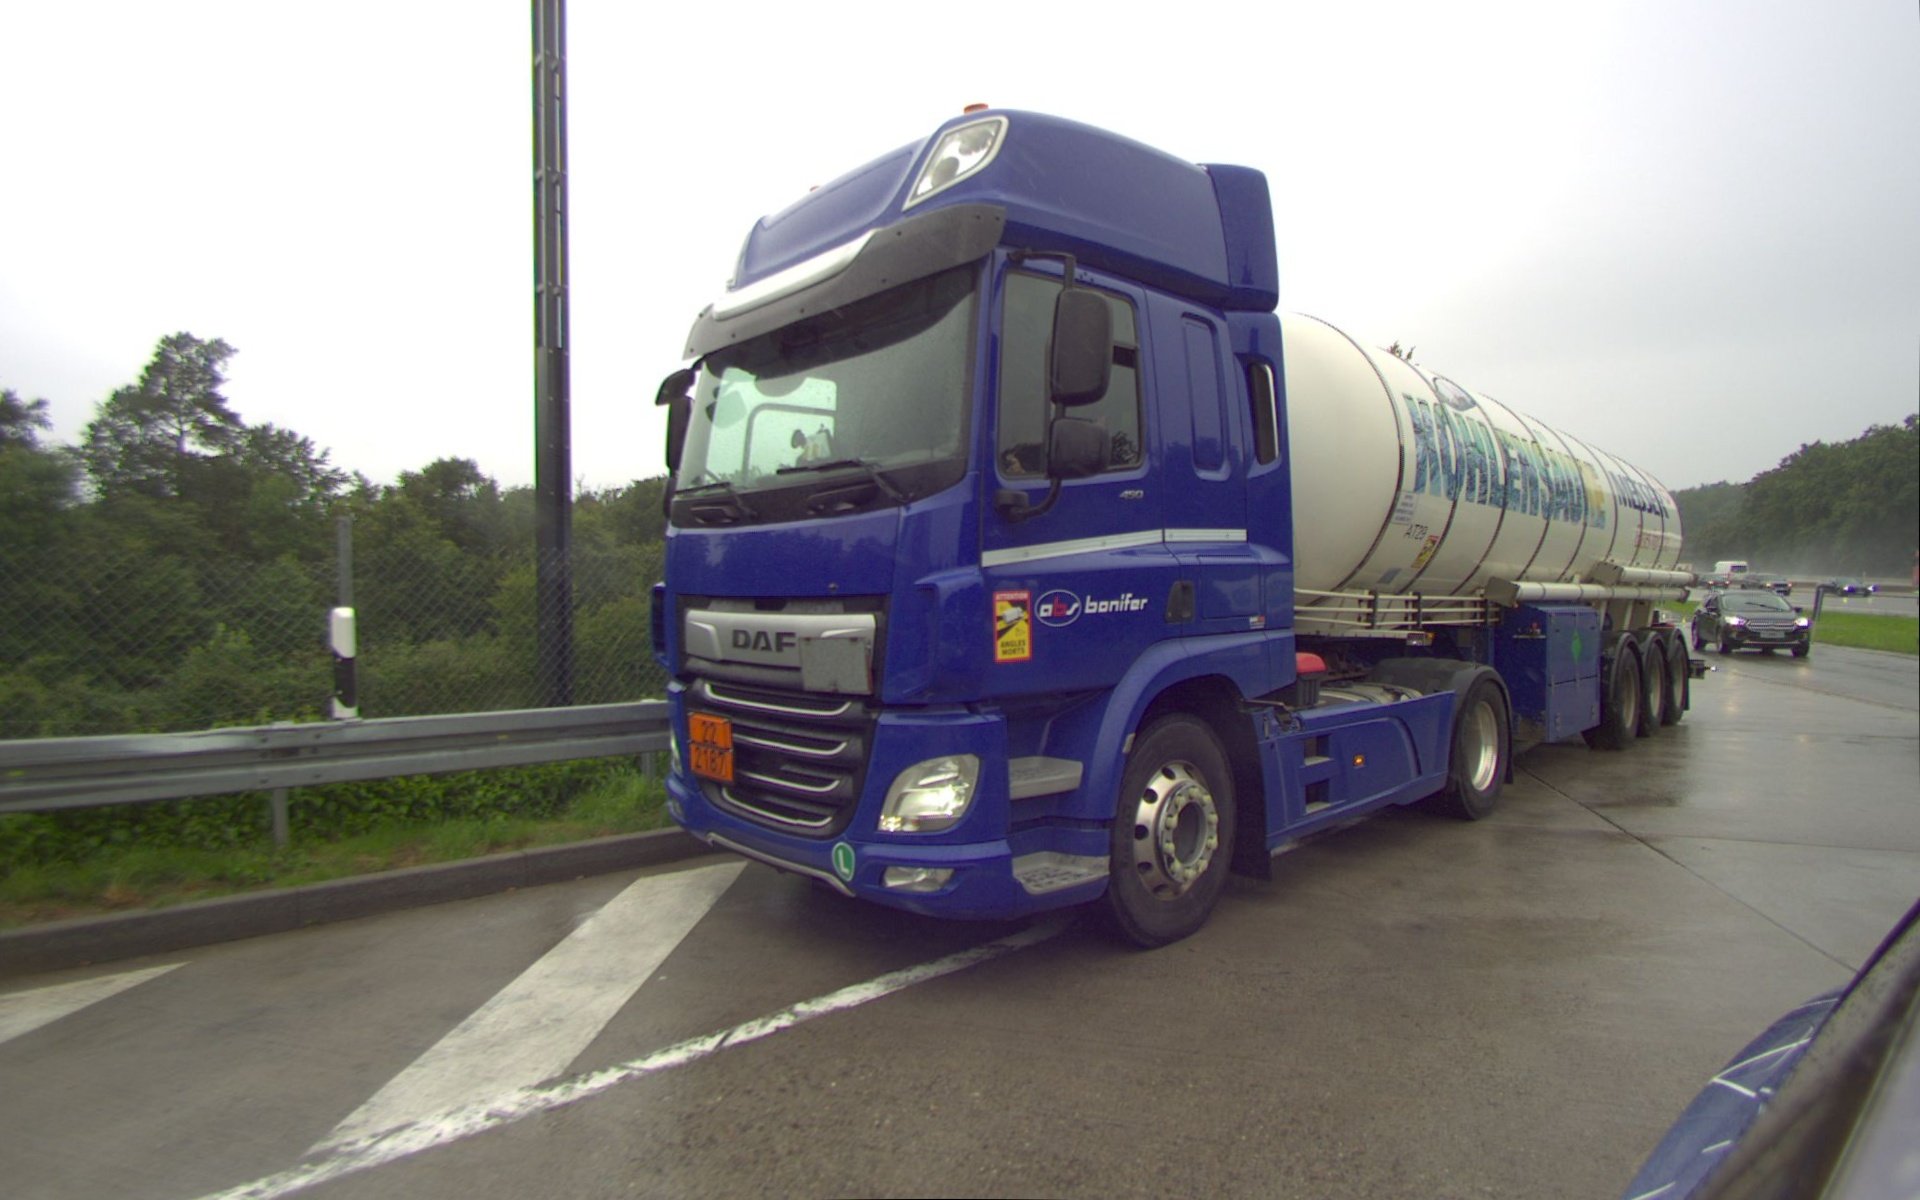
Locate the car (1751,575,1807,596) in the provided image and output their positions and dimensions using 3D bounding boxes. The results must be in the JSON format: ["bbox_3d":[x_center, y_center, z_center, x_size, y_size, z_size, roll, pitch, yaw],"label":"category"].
[{"bbox_3d":[63.631,-1.118,78.723,1.762,1.579,4.082,0,0,13],"label":"car"}]

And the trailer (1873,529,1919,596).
[{"bbox_3d":[52.322,-1.955,51.226,2.655,3.548,15.050,-3,1,17],"label":"trailer"}]

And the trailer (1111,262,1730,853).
[{"bbox_3d":[5.363,-0.302,9.870,10.152,3.265,1.981,-1,0,-45],"label":"trailer"}]

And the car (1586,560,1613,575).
[{"bbox_3d":[84.802,-4.316,134.249,1.972,1.835,3.980,1,1,16],"label":"car"}]

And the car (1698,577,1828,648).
[{"bbox_3d":[20.965,0.279,26.599,1.793,1.560,3.965,-4,0,27],"label":"car"}]

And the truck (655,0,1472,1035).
[{"bbox_3d":[0.942,-0.400,5.687,4.668,3.576,2.054,-1,0,-44],"label":"truck"}]

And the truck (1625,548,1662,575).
[{"bbox_3d":[103.795,-5.826,153.683,2.593,3.716,5.964,-3,-1,15],"label":"truck"}]

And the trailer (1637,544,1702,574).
[{"bbox_3d":[101.629,-5.770,145.307,2.585,3.727,14.605,-3,0,15],"label":"trailer"}]
